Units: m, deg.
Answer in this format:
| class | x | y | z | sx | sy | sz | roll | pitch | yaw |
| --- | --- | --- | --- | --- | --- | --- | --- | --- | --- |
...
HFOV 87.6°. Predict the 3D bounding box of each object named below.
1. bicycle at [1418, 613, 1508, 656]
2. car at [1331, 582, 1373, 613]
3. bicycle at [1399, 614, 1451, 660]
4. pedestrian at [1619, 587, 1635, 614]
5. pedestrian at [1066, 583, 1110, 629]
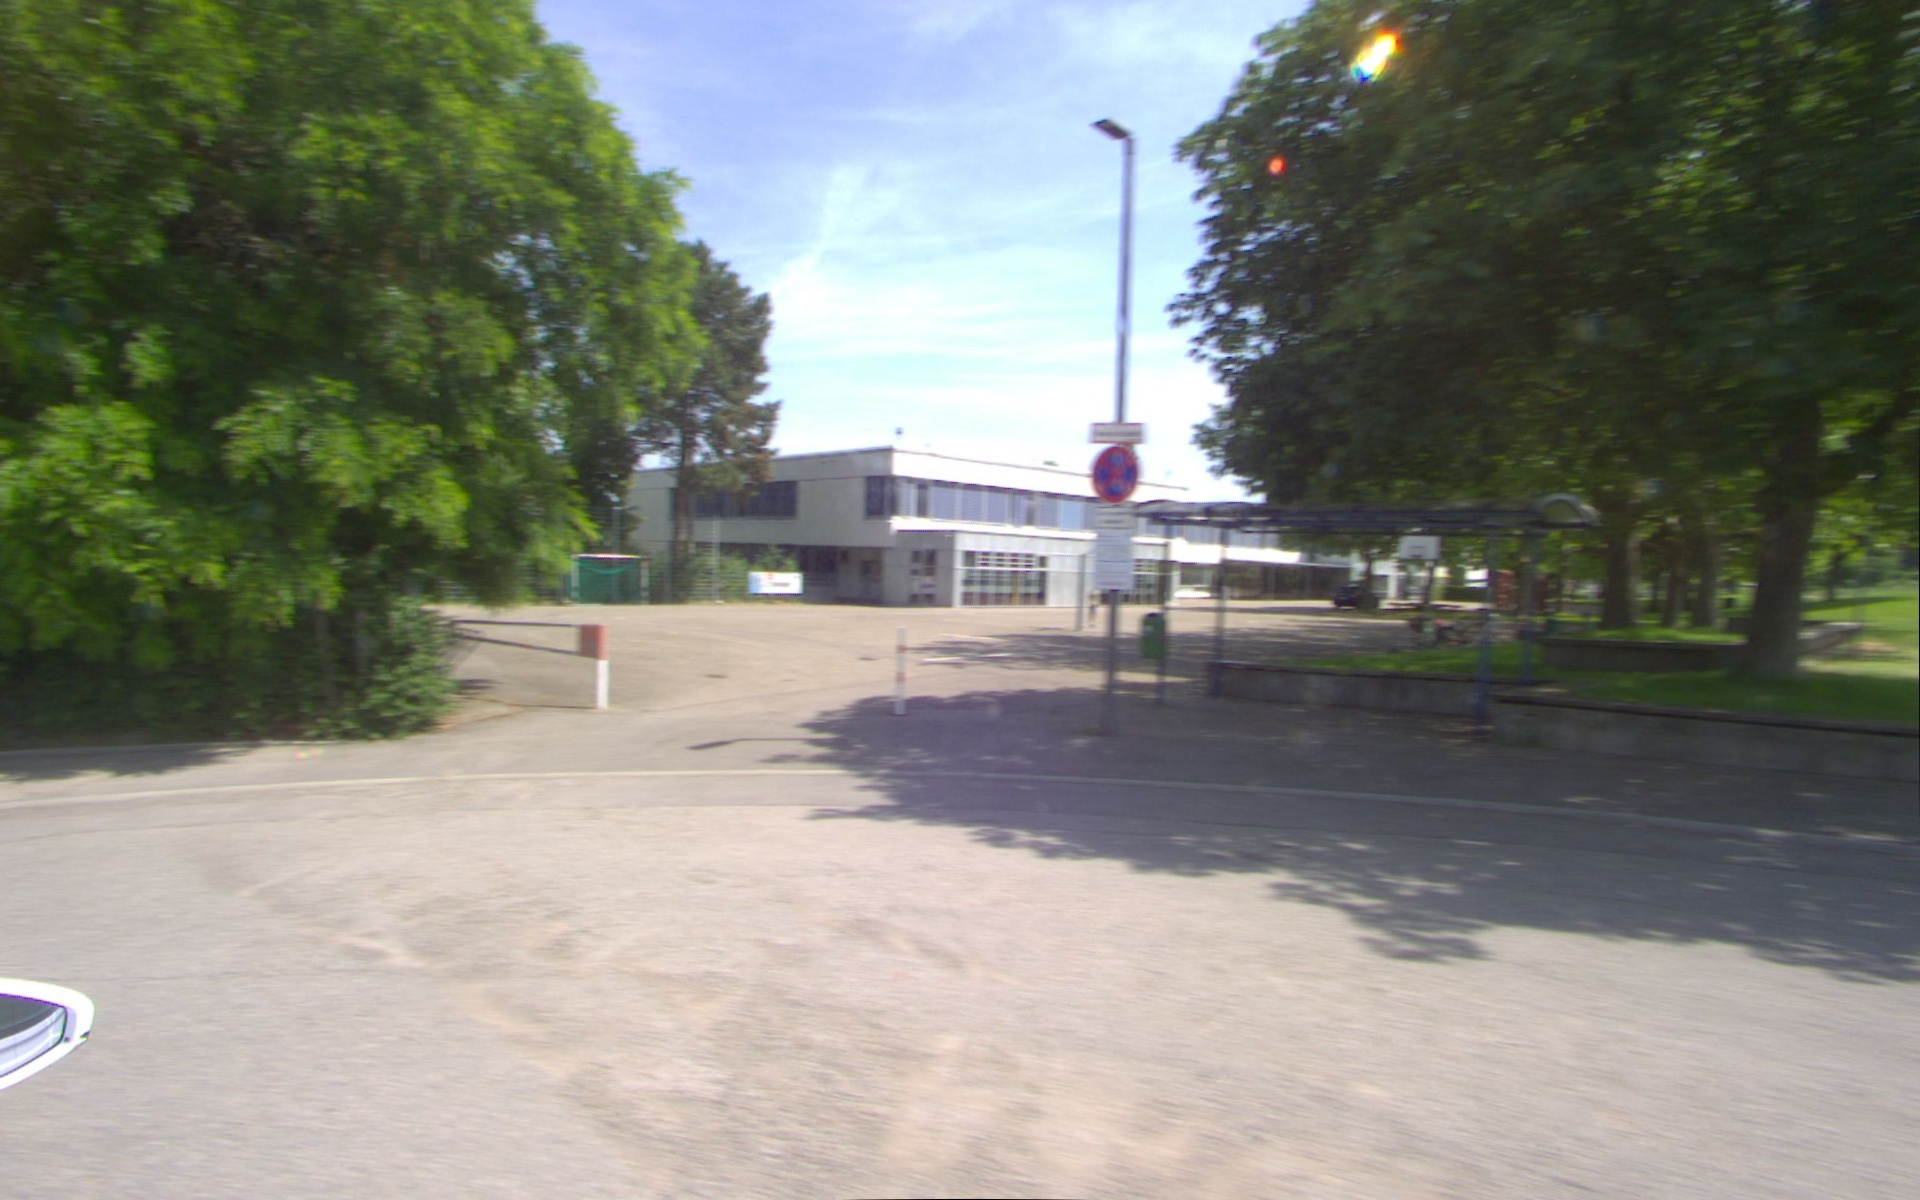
| class | x | y | z | sx | sy | sz | roll | pitch | yaw |
| --- | --- | --- | --- | --- | --- | --- | --- | --- | --- |
| bicycle | 12.985 | 0.874 | 25.865 | 2.037 | 1.053 | 0.569 | 1 | 1 | 29 |
| car | 24.655 | -0.178 | 62.930 | 1.673 | 1.859 | 3.391 | 2 | 1 | 34 |
| bicycle | 11.374 | 0.882 | 24.464 | 0.590 | 1.053 | 1.876 | 2 | 1 | 44 |
| pedestrian | 51.162 | 0.027 | 76.794 | 0.820 | 2.041 | 0.690 | 2 | 2 | 21 |
| pedestrian | 4.217 | 0.194 | 33.025 | 1.053 | 1.442 | 0.915 | 1 | 2 | -26 |
